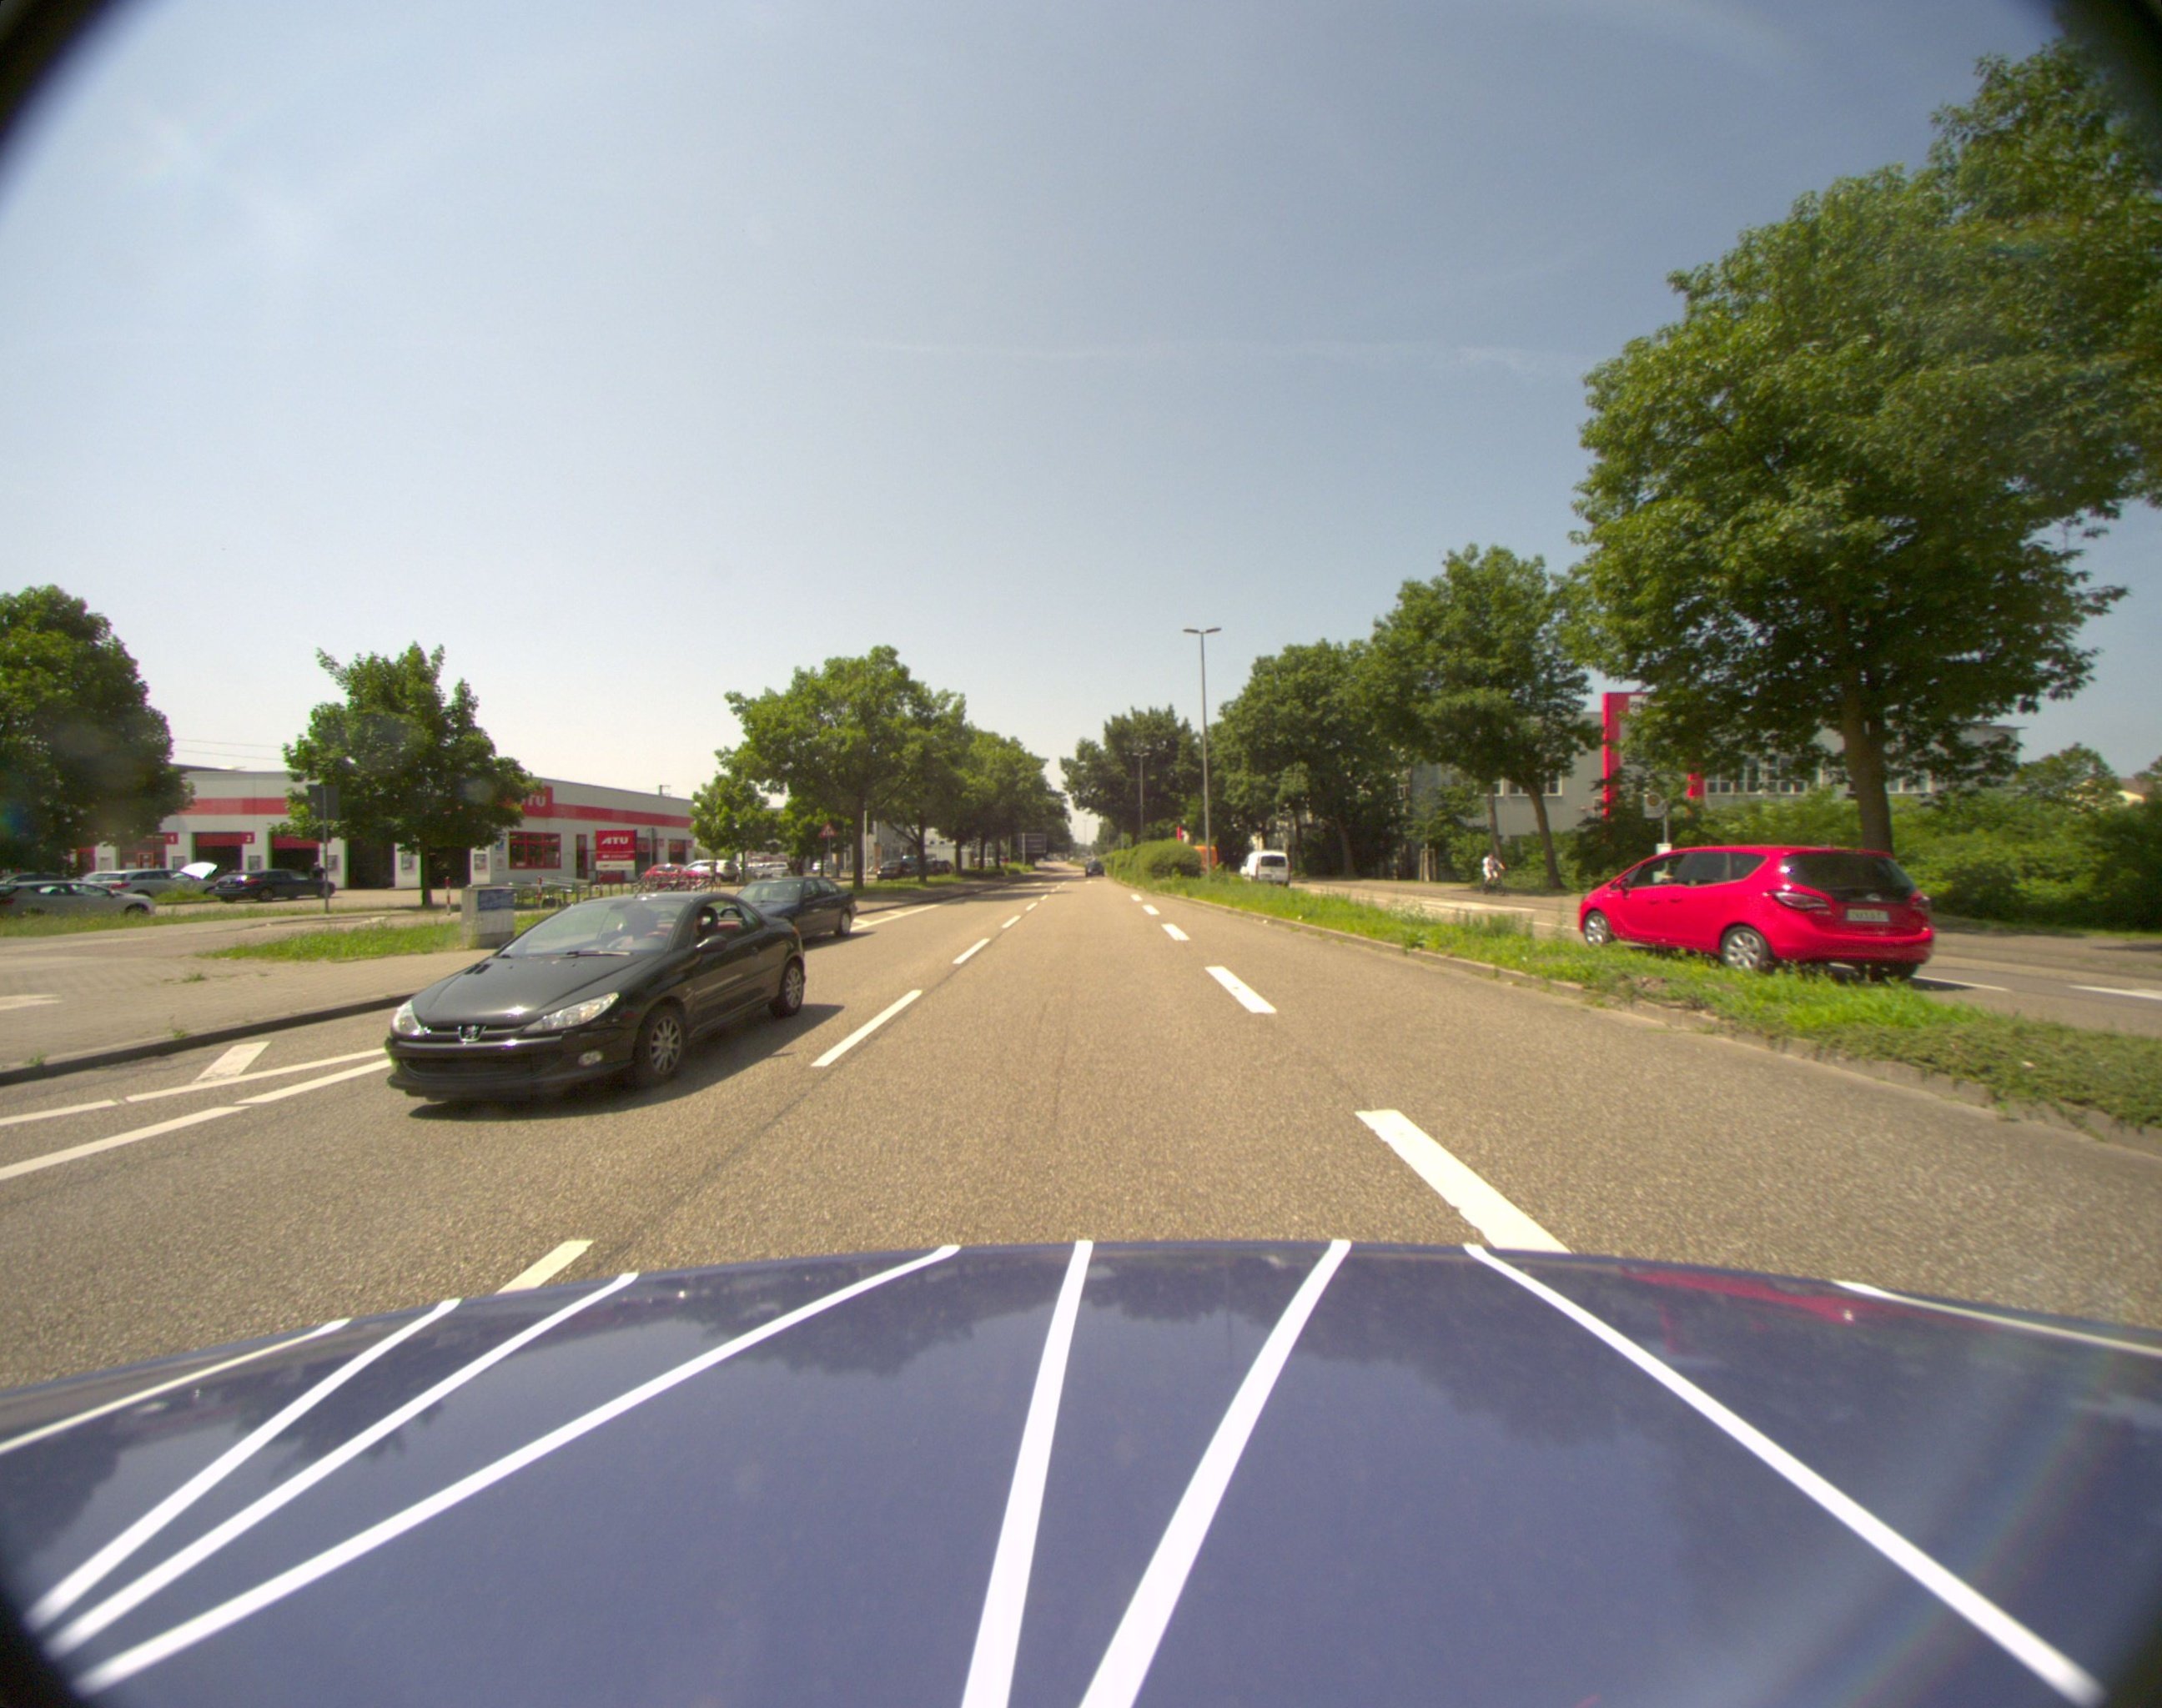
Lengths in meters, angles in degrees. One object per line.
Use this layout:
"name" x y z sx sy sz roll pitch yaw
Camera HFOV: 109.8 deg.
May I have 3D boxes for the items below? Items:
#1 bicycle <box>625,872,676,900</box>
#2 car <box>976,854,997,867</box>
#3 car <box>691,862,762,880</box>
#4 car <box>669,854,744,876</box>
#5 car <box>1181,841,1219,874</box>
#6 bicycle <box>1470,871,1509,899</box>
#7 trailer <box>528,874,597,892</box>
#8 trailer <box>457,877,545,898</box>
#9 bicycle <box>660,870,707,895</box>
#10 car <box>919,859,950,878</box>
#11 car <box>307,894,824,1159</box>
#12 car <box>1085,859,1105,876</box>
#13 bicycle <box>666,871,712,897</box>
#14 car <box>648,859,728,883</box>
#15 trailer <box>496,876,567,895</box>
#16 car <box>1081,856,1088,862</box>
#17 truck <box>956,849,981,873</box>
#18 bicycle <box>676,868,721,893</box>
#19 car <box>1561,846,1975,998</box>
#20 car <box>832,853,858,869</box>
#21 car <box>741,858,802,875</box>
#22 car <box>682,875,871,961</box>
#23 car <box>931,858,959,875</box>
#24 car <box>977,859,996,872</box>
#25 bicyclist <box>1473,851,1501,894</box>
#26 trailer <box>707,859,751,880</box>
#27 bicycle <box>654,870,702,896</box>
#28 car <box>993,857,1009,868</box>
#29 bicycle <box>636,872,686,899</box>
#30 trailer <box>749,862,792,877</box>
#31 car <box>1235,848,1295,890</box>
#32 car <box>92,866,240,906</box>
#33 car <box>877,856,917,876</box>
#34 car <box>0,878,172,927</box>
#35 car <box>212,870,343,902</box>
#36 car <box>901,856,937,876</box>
"bicycle" -17.983 1.329 31.730 1.784 1.117 0.514 0 0 -5
"car" -10.829 0.694 87.091 1.719 1.458 4.001 0 0 2
"car" -24.178 1.147 51.902 3.998 1.201 1.747 0 0 -2
"car" -24.359 0.692 49.525 3.998 1.394 1.747 0 0 -2
"car" 9.806 0.311 63.217 2.271 2.552 6.058 1 0 1
"bicycle" 15.316 1.152 28.526 0.618 0.963 1.660 0 0 2
"trailer" -23.355 1.306 34.271 2.137 0.757 1.394 0 0 3
"trailer" -23.450 1.354 30.749 2.466 0.757 1.449 0 0 3
"bicycle" -17.681 1.263 33.829 1.784 1.117 0.514 0 0 -5
"car" -12.243 1.158 63.597 1.719 1.511 4.001 0 0 2
"car" -3.772 1.140 6.558 1.642 1.336 4.000 -2 0 1
"car" 1.182 1.130 64.077 1.642 1.395 4.000 0 0 1
"bicycle" -17.733 1.344 34.416 1.784 1.117 0.514 0 0 -5
"car" -24.289 1.036 47.072 3.997 1.394 1.747 0 0 -1
"trailer" -23.567 1.337 32.645 2.137 0.757 1.267 0 0 3
"car" 1.145 1.388 224.454 1.998 1.692 4.000 0 0 1
"truck" -11.999 0.717 81.378 1.904 2.552 4.001 0 0 3
"bicycle" -17.680 1.208 35.141 1.784 1.117 0.514 0 0 -5
"car" 8.584 0.723 10.123 1.753 1.560 4.153 2 0 1
"car" -24.281 0.694 78.322 1.759 1.586 3.998 0 0 -6
"car" -24.085 0.945 59.193 3.998 1.293 1.689 0 0 -2
"car" -5.973 1.200 15.500 1.641 1.363 4.148 -2 0 9
"car" -12.432 1.151 69.495 1.719 1.504 4.001 0 0 2
"car" -11.671 1.403 93.683 1.719 1.458 4.001 0 0 2
"bicyclist" 15.339 0.682 28.718 0.609 1.621 0.923 0 1 2
"trailer" -26.392 1.176 57.005 2.642 1.518 1.415 0 0 -1
"bicycle" -17.616 1.268 33.205 1.784 1.117 0.514 0 0 -5
"car" -11.225 1.195 107.403 1.719 1.458 4.001 0 0 2
"bicycle" -17.870 1.323 32.363 1.784 1.117 0.514 0 0 -5
"trailer" -23.292 1.140 57.040 2.642 1.046 1.578 0 0 -1
"car" 9.109 0.696 37.982 1.856 1.894 4.426 2 0 0
"car" -41.641 1.405 34.735 1.717 1.653 4.145 0 0 1
"car" -12.574 0.806 52.190 1.642 1.363 4.001 0 0 2
"car" -32.053 1.475 24.076 1.652 1.305 3.973 0 0 1
"car" -37.510 1.458 35.651 1.717 1.364 4.145 0 0 1
"car" -12.379 0.870 58.287 1.719 1.458 4.001 0 0 2
